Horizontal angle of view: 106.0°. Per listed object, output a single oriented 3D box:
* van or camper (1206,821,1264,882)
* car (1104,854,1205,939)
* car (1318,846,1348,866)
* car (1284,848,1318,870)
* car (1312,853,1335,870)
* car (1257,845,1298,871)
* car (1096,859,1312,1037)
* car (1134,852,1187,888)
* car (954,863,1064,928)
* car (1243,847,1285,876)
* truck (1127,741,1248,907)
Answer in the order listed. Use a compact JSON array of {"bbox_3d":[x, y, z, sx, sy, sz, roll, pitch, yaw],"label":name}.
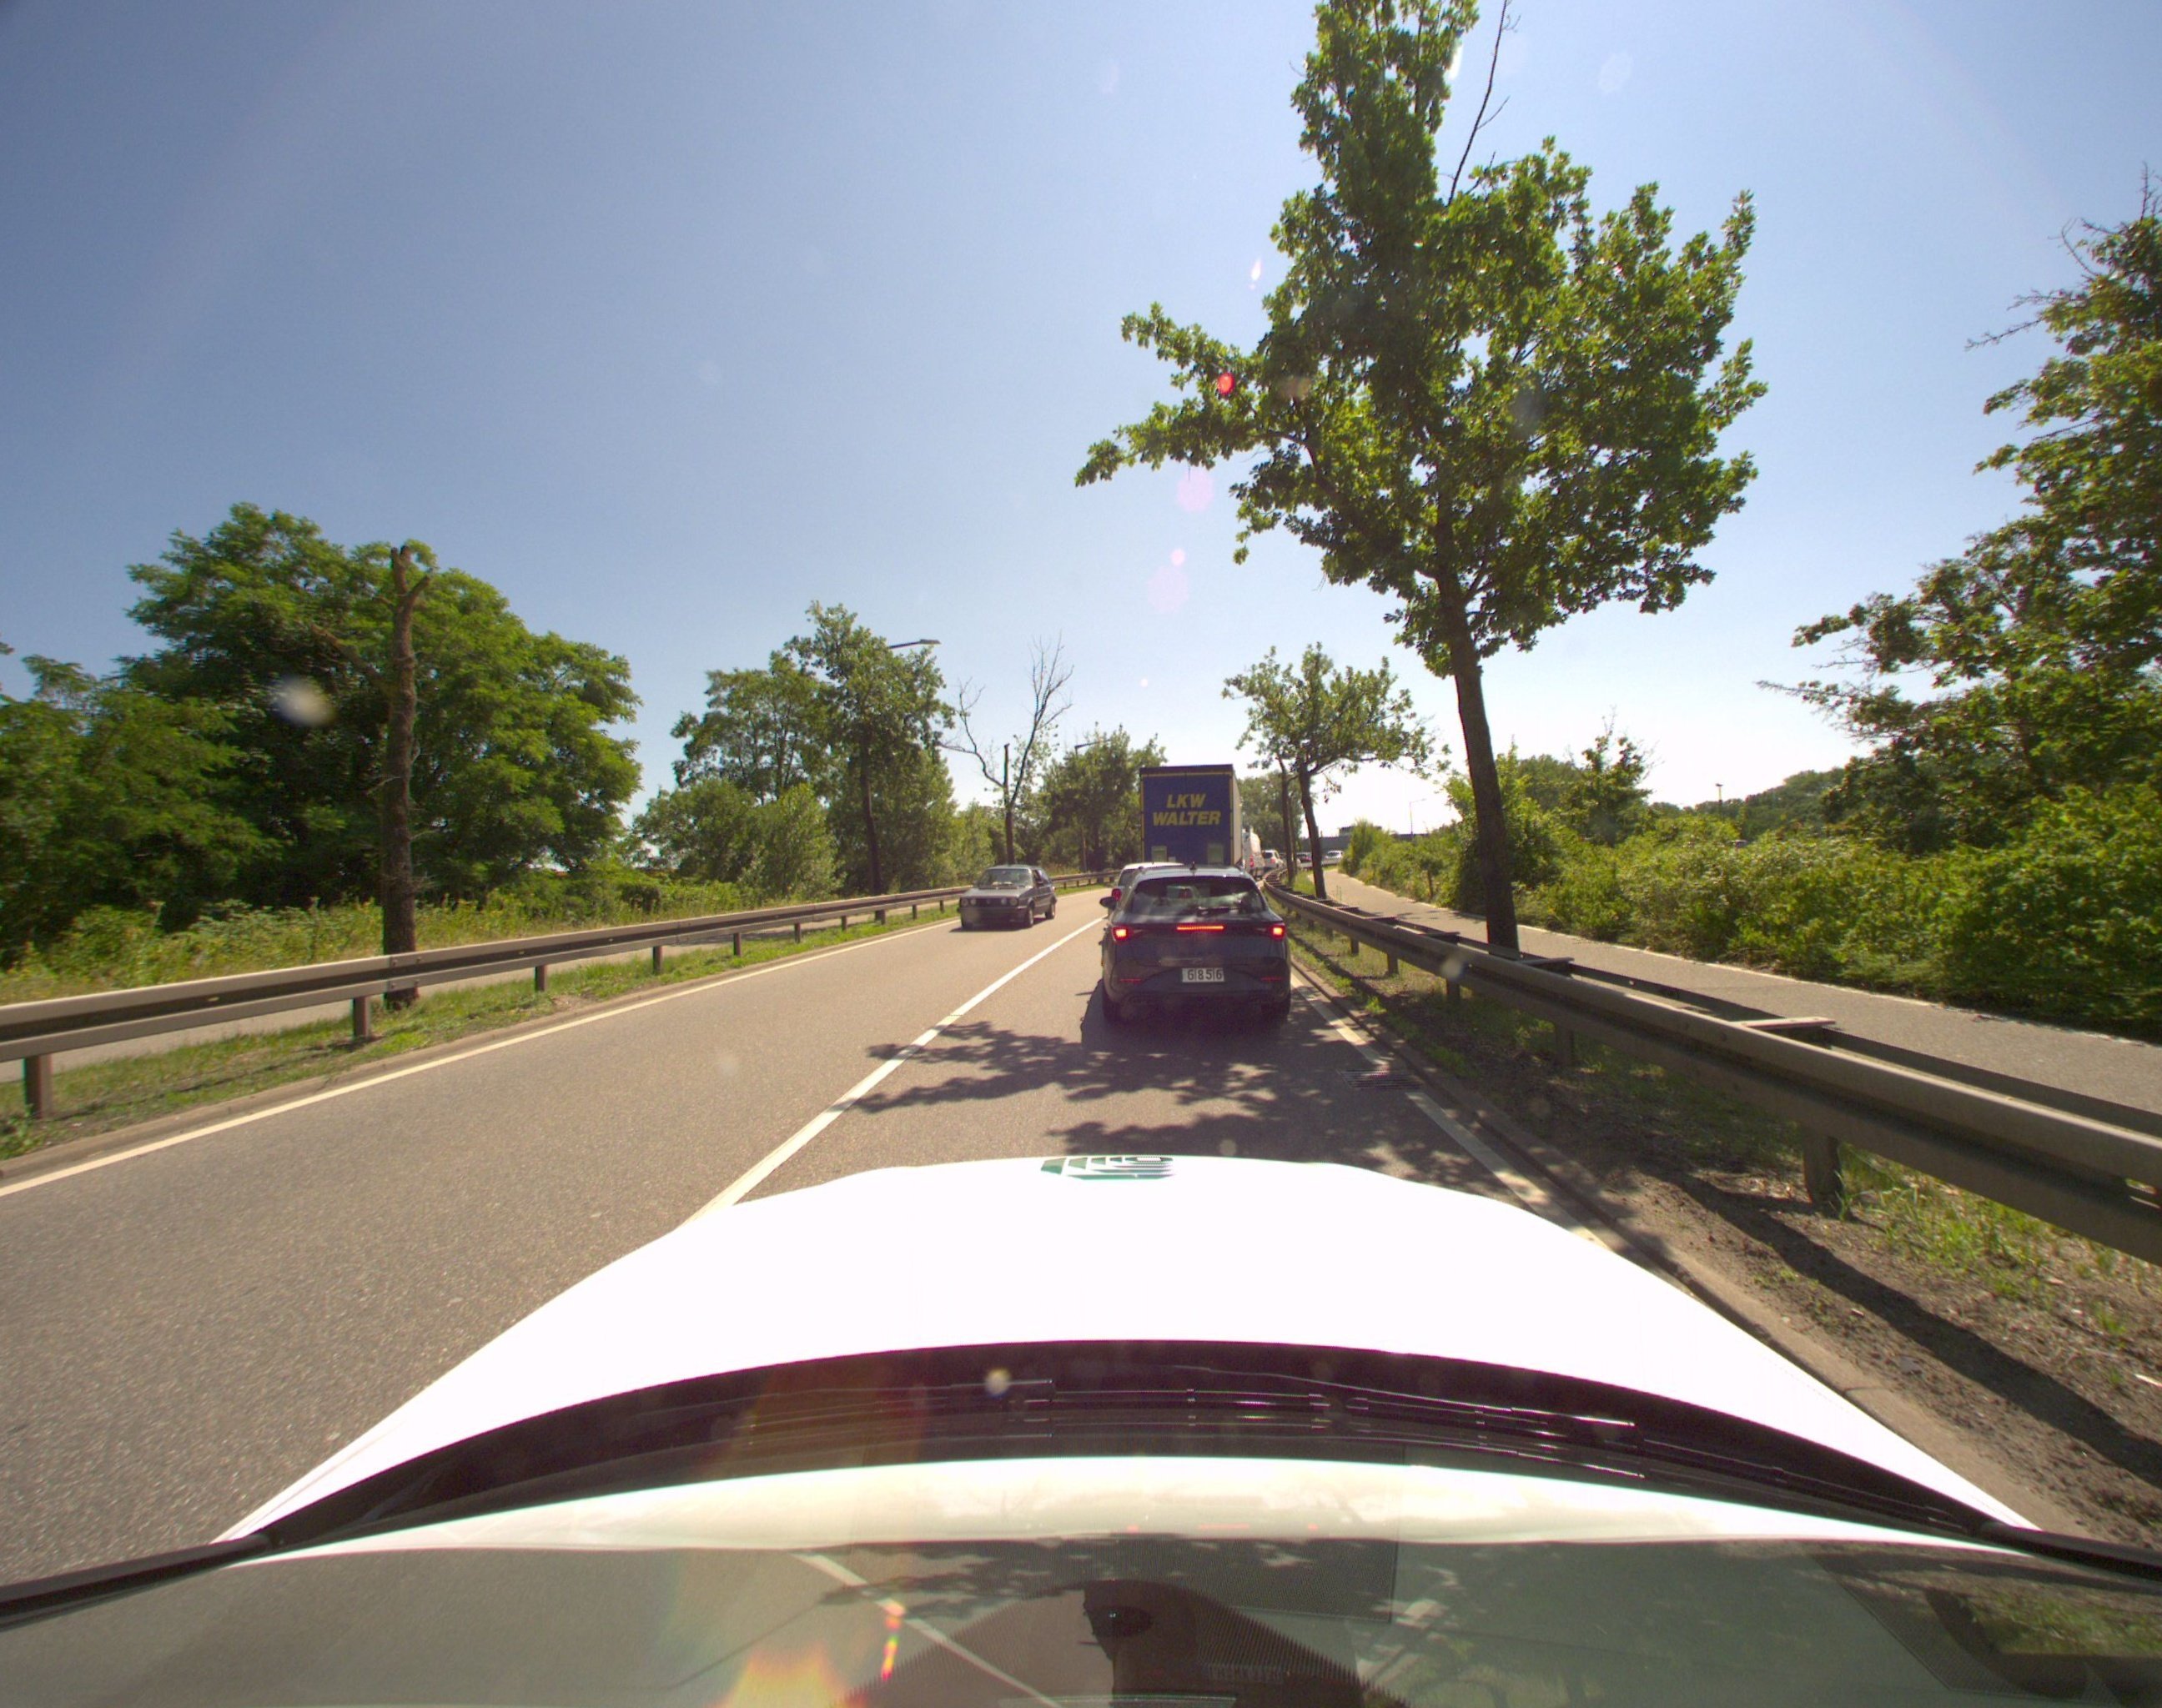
[{"bbox_3d":[8.359,-0.105,43.719,2.448,2.998,6.111,-1,0,16],"label":"van or camper"},{"bbox_3d":[1.450,0.780,16.748,1.801,1.508,4.003,-1,0,3],"label":"car"},{"bbox_3d":[23.571,0.222,76.041,1.975,1.768,4.782,-1,0,25],"label":"car"},{"bbox_3d":[17.847,0.383,65.870,1.976,1.717,4.895,-1,0,23],"label":"car"},{"bbox_3d":[26.737,0.795,89.657,1.729,1.763,4.462,-1,-1,26],"label":"car"},{"bbox_3d":[14.076,0.285,58.138,1.976,1.808,4.872,-1,0,23],"label":"car"},{"bbox_3d":[1.062,0.783,8.610,1.738,1.432,3.881,-1,0,2],"label":"car"},{"bbox_3d":[4.224,0.825,42.654,1.731,1.763,4.410,-1,0,19],"label":"car"},{"bbox_3d":[-1.625,0.940,19.667,1.546,1.372,3.901,-1,0,12],"label":"car"},{"bbox_3d":[11.633,0.457,51.496,1.977,1.712,4.643,-1,0,20],"label":"car"},{"bbox_3d":[4.553,-0.756,30.356,2.930,4.449,16.855,-1,0,12],"label":"truck"}]
